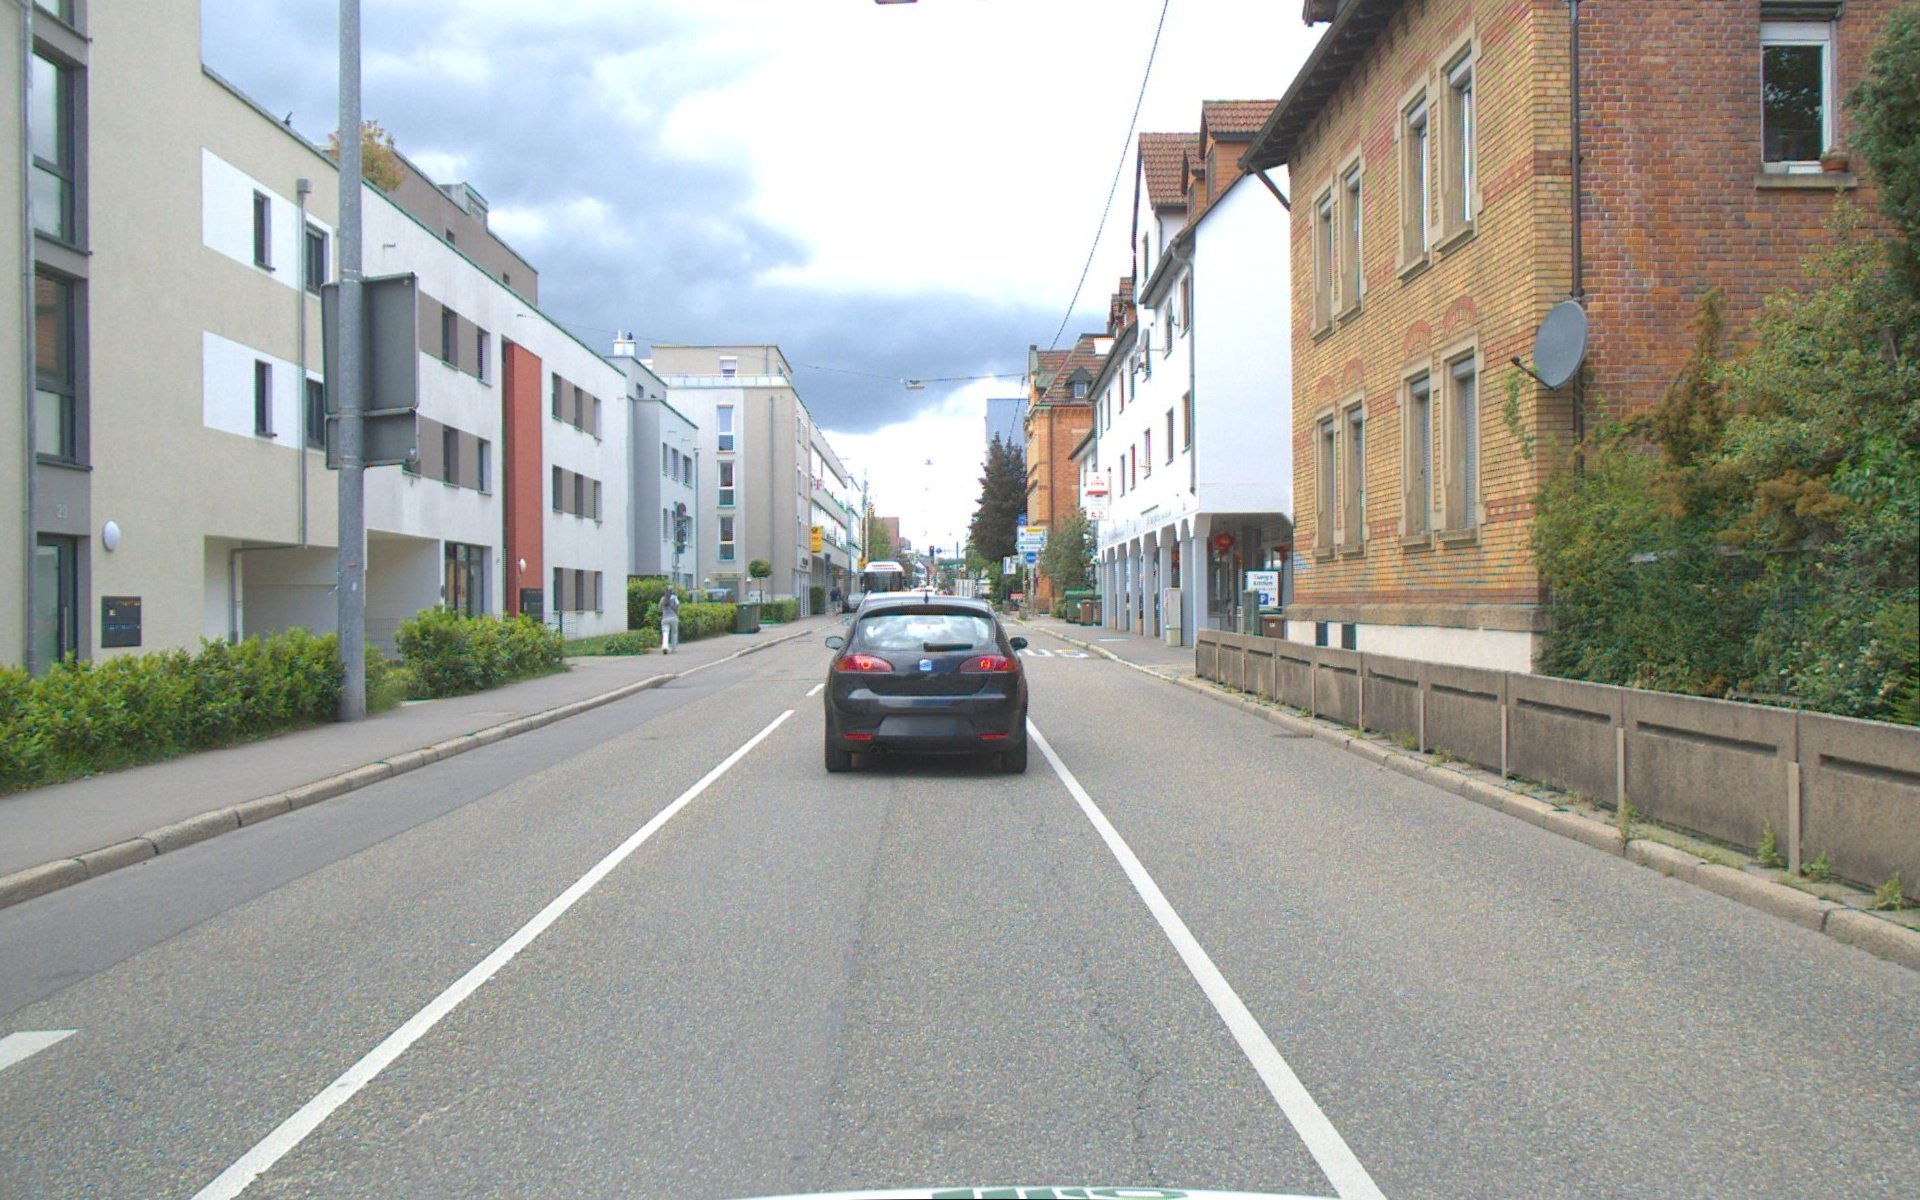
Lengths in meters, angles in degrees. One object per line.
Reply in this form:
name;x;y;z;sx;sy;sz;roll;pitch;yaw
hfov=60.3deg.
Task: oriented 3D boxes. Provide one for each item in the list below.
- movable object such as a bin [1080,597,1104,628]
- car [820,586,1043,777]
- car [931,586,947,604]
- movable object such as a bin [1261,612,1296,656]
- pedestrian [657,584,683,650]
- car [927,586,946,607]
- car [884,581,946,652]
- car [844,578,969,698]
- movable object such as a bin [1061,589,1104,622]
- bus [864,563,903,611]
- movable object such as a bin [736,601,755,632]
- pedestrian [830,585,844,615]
movable object such as a bin;5.632;0.544;70.664;0.909;1.306;0.883;1;0;0
car;-0.249;0.645;14.930;1.723;1.467;3.999;1;0;-1
car;-2.078;-0.503;163.601;1.500;1.722;3.692;0;0;-1
movable object such as a bin;6.207;0.663;32.289;0.580;0.854;0.458;1;0;-1
pedestrian;-7.034;0.411;40.093;0.516;1.575;0.541;1;0;-1
car;-1.966;-0.308;137.280;1.500;1.722;3.692;0;0;-1
car;-1.142;0.403;42.305;1.500;1.723;3.692;1;0;-1
car;-0.823;0.563;26.287;1.805;1.723;3.999;1;0;-1
movable object such as a bin;5.530;0.254;75.048;1.781;1.462;1.992;1;0;0
bus;-4.948;-0.784;107.870;2.165;2.936;8.918;1;0;-1
movable object such as a bin;-7.493;0.575;57.766;0.538;1.097;0.612;1;0;0
pedestrian;-7.249;0.023;97.496;0.716;1.759;0.859;1;0;-2
